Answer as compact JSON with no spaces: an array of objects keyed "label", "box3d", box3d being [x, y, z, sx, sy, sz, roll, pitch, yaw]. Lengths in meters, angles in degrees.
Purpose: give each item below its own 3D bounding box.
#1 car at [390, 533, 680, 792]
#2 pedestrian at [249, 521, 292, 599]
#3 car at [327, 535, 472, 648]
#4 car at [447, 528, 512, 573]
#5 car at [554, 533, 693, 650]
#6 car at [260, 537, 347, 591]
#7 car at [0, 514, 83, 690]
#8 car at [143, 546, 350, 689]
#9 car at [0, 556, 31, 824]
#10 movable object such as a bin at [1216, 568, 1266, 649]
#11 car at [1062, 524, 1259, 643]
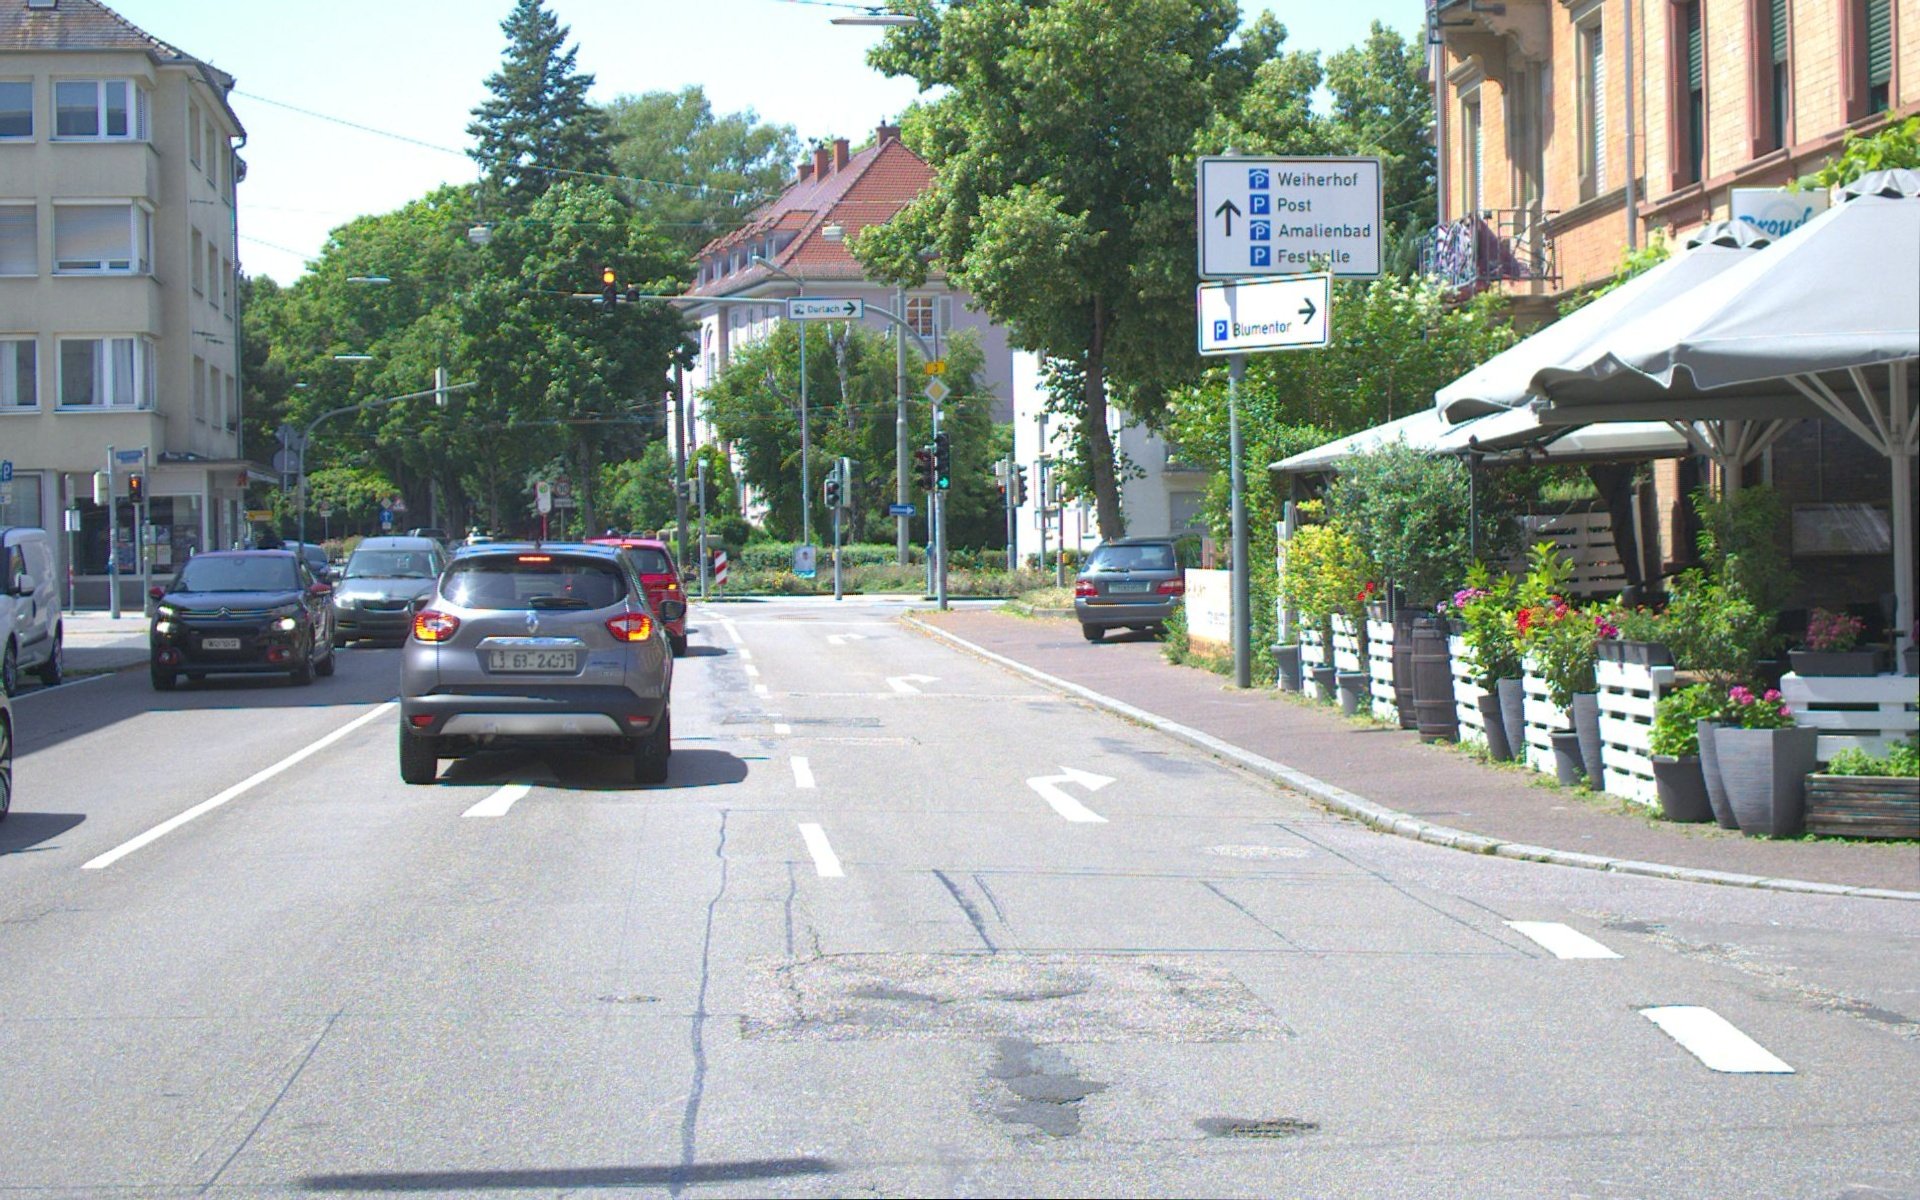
[{"label":"car","box3d":[-2.848,0.358,23.734,1.753,1.626,4.001,0,1,-4]},{"label":"pedestrian","box3d":[-17.106,-0.996,85.270,0.935,1.925,0.977,0,1,-16]},{"label":"car","box3d":[-8.249,-0.160,50.915,1.701,1.569,4.313,-1,1,-4]},{"label":"car","box3d":[-19.684,-2.054,140.704,1.993,1.801,4.001,0,1,-17]},{"label":"car","box3d":[-4.659,-0.138,48.017,1.798,1.552,4.038,0,1,-4]},{"label":"car","box3d":[-19.172,-1.040,100.246,1.993,1.514,4.001,0,0,-18]},{"label":"car","box3d":[-11.037,0.022,37.896,1.913,1.819,4.789,-2,1,-6]},{"label":"car","box3d":[-7.915,0.152,38.459,1.701,1.473,4.134,-1,1,-4]},{"label":"car","box3d":[-6.130,0.545,17.936,1.759,1.489,4.246,-1,1,-6]},{"label":"movable object such as a bin","box3d":[3.757,0.105,45.952,0.649,1.068,0.637,0,1,6]},{"label":"car","box3d":[3.043,-0.281,50.995,1.835,1.543,5.153,-1,2,16]}]
